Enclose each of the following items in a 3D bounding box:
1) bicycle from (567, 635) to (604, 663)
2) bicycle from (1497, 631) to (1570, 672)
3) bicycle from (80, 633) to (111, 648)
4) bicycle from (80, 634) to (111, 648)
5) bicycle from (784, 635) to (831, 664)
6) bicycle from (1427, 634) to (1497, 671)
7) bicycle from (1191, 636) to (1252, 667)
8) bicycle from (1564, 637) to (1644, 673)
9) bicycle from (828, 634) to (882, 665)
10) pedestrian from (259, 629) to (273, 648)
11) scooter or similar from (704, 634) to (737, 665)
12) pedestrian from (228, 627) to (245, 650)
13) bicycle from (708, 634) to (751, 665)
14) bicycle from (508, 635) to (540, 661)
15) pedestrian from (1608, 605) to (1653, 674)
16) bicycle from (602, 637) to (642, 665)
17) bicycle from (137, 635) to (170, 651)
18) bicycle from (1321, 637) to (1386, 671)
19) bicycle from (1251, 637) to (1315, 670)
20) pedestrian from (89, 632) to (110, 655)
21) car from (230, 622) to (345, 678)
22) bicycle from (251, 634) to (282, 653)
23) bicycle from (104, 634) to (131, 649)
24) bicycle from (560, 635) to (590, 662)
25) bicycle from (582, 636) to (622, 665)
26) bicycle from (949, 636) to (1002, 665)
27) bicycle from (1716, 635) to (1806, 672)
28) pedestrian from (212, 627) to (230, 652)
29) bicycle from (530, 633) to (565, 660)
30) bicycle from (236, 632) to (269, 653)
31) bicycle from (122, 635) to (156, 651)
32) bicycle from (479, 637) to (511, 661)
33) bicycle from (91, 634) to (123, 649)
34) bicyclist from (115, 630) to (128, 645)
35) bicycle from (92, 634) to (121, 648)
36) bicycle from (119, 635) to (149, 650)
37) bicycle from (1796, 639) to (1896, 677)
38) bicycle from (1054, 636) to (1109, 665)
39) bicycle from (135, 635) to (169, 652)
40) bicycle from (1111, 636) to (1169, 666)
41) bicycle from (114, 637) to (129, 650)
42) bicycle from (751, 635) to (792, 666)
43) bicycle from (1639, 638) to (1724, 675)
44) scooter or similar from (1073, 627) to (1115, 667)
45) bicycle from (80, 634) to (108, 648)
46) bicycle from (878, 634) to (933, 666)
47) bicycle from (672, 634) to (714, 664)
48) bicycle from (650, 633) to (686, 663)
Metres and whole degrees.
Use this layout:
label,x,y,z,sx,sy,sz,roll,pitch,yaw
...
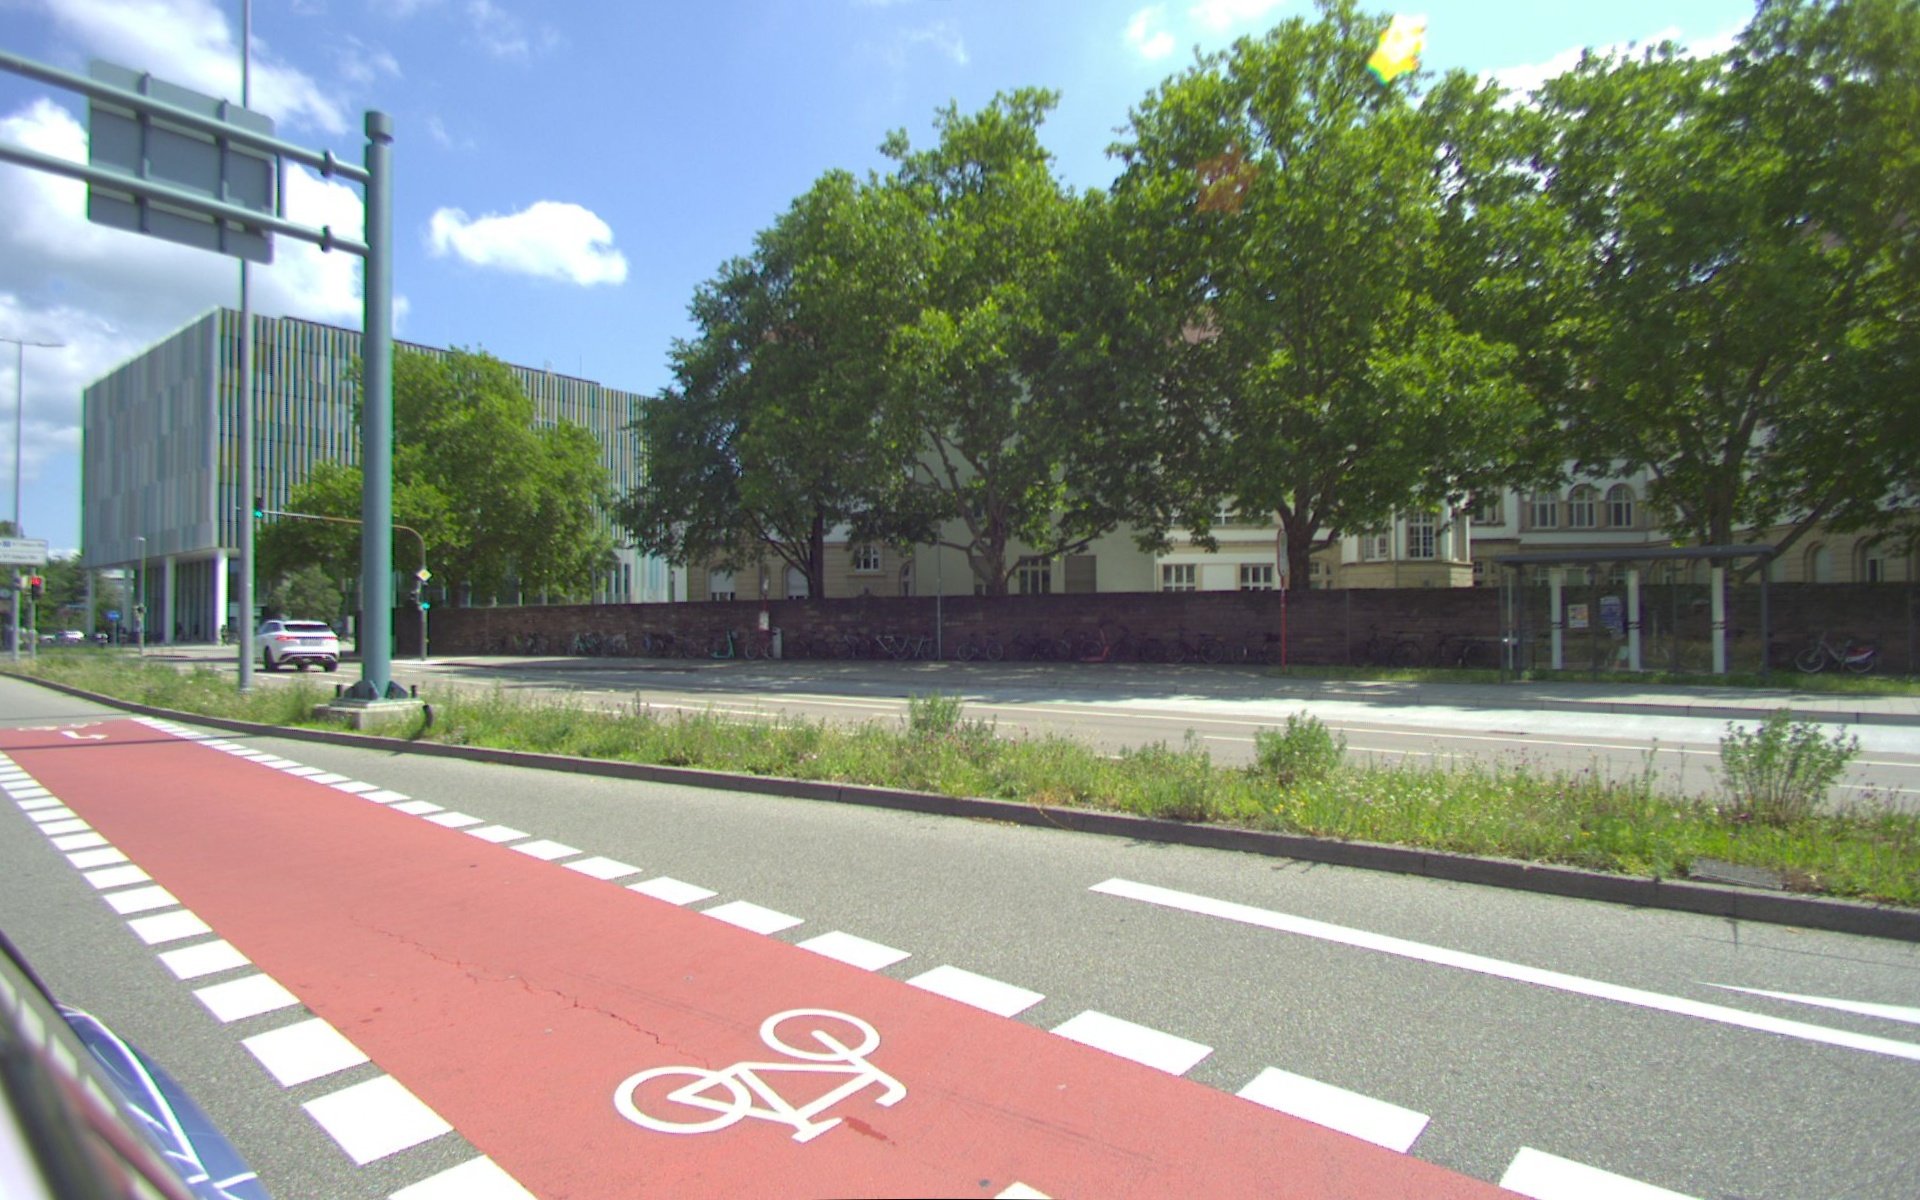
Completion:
label,x,y,z,sx,sy,sz,roll,pitch,yaw
bicycle,-15.903,2.077,42.971,1.581,1.161,0.400,-1,-2,18
bicycle,15.151,1.357,26.780,1.614,1.059,0.541,-1,-2,24
bicycle,-93.620,4.389,109.559,0.621,1.506,2.479,-2,-2,41
bicycle,-93.158,4.379,109.020,0.621,1.506,2.479,-2,-2,41
bicycle,-5.564,1.789,36.860,1.795,1.016,0.476,-2,-2,32
bicycle,13.624,1.421,27.490,1.655,0.959,0.541,-1,-2,24
bicycle,7.751,1.521,29.990,1.656,0.909,0.540,-1,-2,26
bicycle,16.814,1.433,26.444,1.653,0.909,0.541,-1,-2,21
bicycle,-3.724,1.740,35.759,1.941,1.055,0.540,-2,-2,29
pedestrian,-65.866,3.639,96.018,0.997,1.720,1.214,0,-2,-30
scooter or similar,-9.014,1.851,38.074,1.184,1.161,0.430,-1,-2,20
pedestrian,-59.884,3.191,83.788,0.955,1.940,0.882,0,-2,-23
bicycle,-8.822,1.902,38.765,1.582,1.161,0.530,-1,-2,19
bicycle,-19.710,2.156,45.742,1.589,1.161,0.495,-2,-2,33
pedestrian,16.234,0.952,24.509,0.752,1.629,0.612,-1,-1,20
bicycle,-13.899,2.100,41.647,1.576,1.161,0.401,-1,-2,8
bicycle,-77.564,4.151,97.308,2.473,1.506,0.731,1,-2,-39
bicycle,11.081,1.516,28.514,1.656,0.909,0.540,-1,-2,26
bicycle,9.263,1.522,29.072,1.663,0.909,0.497,-2,-2,38
pedestrian,-64.209,3.247,75.476,0.876,1.641,0.961,-1,-2,32
car,-22.088,1.602,33.176,4.774,1.680,2.049,-2,-2,42
bicycle,-57.888,3.614,84.470,0.919,1.505,2.690,0,-1,-4
bicycle,-87.167,4.296,104.699,0.621,1.506,2.044,-2,-2,41
bicycle,-16.759,2.106,44.053,1.591,1.161,0.409,-2,-2,36
bicycle,-14.939,2.111,42.246,1.576,1.161,0.401,-1,-2,8
bicycle,0.508,1.652,33.207,1.658,0.956,0.540,-2,-2,29
bicycle,20.021,1.335,25.322,1.653,0.909,0.541,-1,-2,21
pedestrian,-58.812,3.157,80.535,0.955,1.940,0.882,0,-2,-20
bicycle,-18.310,2.056,44.918,1.589,1.161,0.616,-2,-2,33
bicycle,-58.931,3.527,84.372,0.797,1.656,3.420,0,-2,-8
bicycle,-79.970,4.177,98.612,0.621,1.506,2.479,-2,-2,41
bicycle,-21.550,2.270,46.908,1.589,1.107,0.567,-2,-2,33
bicycle,-89.375,4.322,106.055,0.621,1.506,2.479,-2,-2,41
bicyclist,-68.365,3.036,82.496,0.832,1.235,0.611,-2,-2,37
bicycle,-90.831,4.354,107.710,0.621,1.506,2.300,-2,-2,41
bicycle,-82.220,4.219,100.743,0.621,1.506,2.172,-2,-2,41
bicycle,21.733,1.423,24.855,1.781,0.909,0.450,-1,-2,21
bicycle,3.815,1.578,31.813,1.658,0.909,0.540,-1,-2,29
bicycle,-76.984,4.135,96.436,0.621,1.506,2.420,-2,-2,41
bicycle,5.510,1.558,30.943,1.658,0.909,0.540,-2,-2,29
bicycle,-68.303,3.515,82.434,2.162,1.006,0.638,-2,-2,41
bicycle,-7.044,1.883,37.742,1.587,1.151,0.429,-2,-2,29
bicycle,18.428,1.431,25.865,1.653,0.909,0.541,-1,-2,21
scooter or similar,4.097,1.443,30.916,1.184,1.192,0.430,-1,-2,20
bicycle,-94.533,4.469,110.468,0.656,1.506,2.273,-2,-2,41
bicycle,-1.876,1.693,34.610,1.887,1.055,0.540,-2,-2,29
bicycle,-10.445,1.917,39.536,1.582,1.161,0.530,-1,-2,19
bicycle,-11.738,1.932,40.612,1.587,1.161,0.398,-2,-2,30
